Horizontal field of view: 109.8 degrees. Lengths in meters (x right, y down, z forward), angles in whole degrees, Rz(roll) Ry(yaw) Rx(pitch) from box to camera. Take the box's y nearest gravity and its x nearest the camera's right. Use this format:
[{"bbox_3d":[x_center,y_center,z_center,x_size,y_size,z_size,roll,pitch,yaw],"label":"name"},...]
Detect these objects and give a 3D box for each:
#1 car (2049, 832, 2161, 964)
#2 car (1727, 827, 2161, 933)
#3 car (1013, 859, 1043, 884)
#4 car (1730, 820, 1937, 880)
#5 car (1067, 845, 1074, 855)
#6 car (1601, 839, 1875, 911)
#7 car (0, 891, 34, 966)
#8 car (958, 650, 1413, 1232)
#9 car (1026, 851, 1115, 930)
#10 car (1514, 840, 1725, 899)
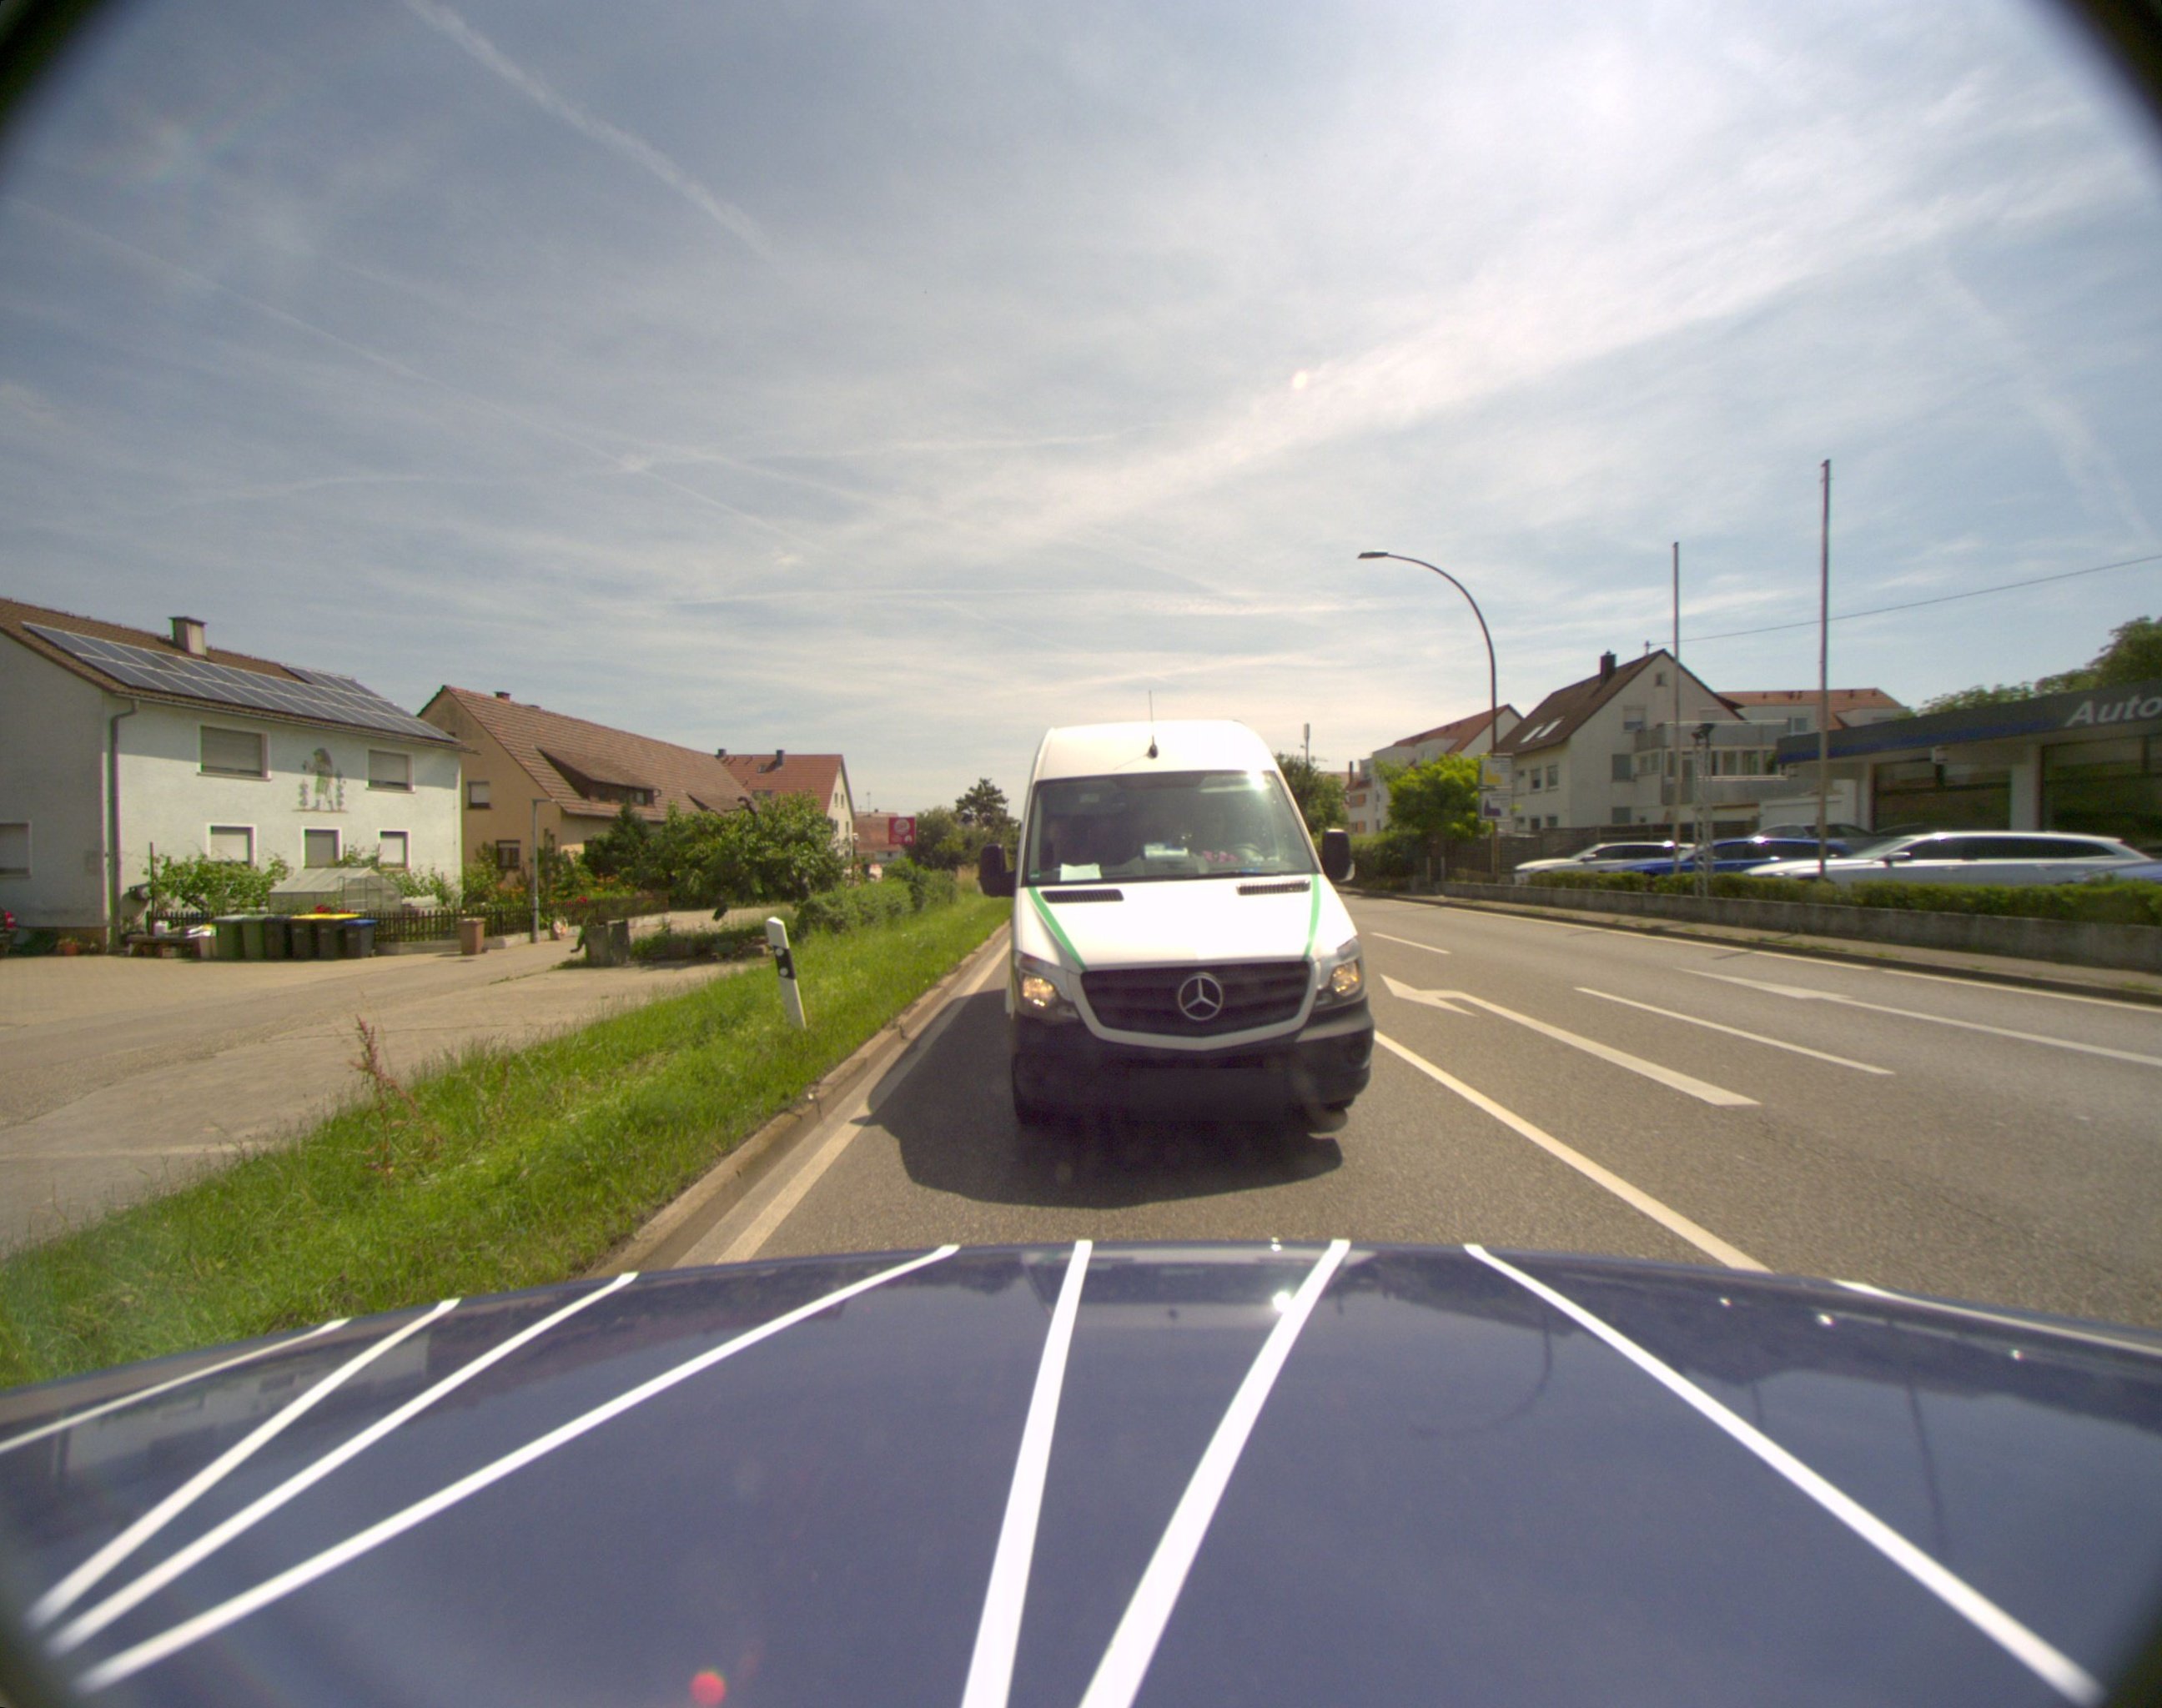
[{"bbox_3d":[14.476,0.438,8.365,4.331,1.439,1.860,-2,1,30],"label":"car"},{"bbox_3d":[14.083,0.462,12.836,4.505,1.439,1.860,-4,0,30],"label":"car"},{"bbox_3d":[-3.449,1.116,49.930,1.636,1.476,3.551,-4,1,-1],"label":"car"},{"bbox_3d":[20.894,-0.109,21.426,1.807,1.456,4.585,-2,0,10],"label":"car"},{"bbox_3d":[-2.956,-1.192,213.241,1.998,2.573,3.999,-2,1,0],"label":"car"},{"bbox_3d":[14.392,0.471,17.038,4.331,1.439,1.860,-2,0,29],"label":"car"},{"bbox_3d":[-26.860,1.749,17.172,3.957,1.683,1.844,0,1,3],"label":"car"},{"bbox_3d":[0.464,0.385,6.222,1.939,2.514,5.748,-2,0,0],"label":"car"},{"bbox_3d":[-0.247,0.798,19.091,1.884,1.652,4.625,-3,0,0],"label":"car"},{"bbox_3d":[14.611,0.449,20.993,4.568,1.439,1.860,-2,1,29],"label":"car"}]
